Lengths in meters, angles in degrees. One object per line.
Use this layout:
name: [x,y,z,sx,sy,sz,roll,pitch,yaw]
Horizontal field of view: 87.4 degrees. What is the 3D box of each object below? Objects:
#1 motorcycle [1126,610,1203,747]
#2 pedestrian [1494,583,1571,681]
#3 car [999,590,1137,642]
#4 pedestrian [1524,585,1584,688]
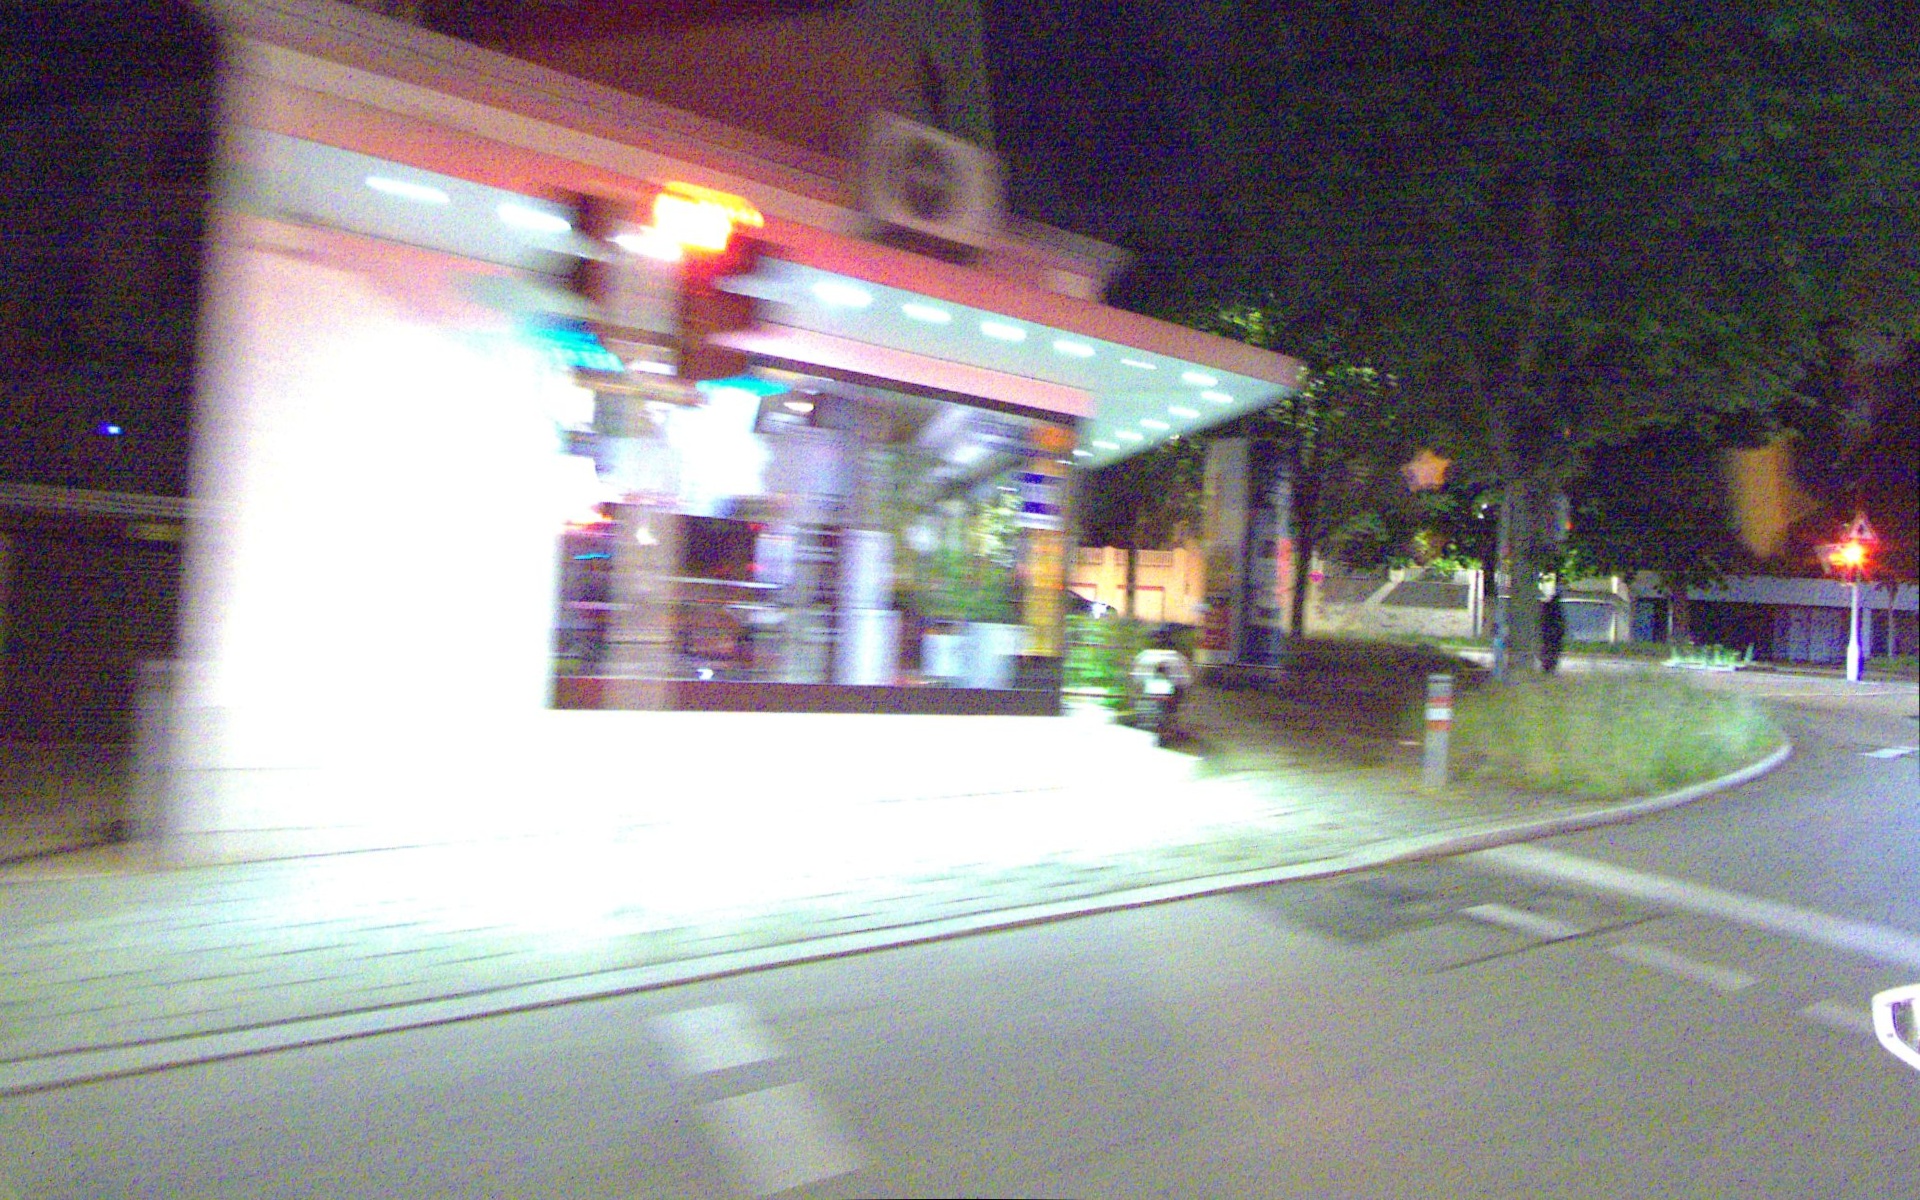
motorcycle: [2.179,0.755,10.548,0.606,1.246,2.041,3,1,15]
pedestrian: [10.970,0.602,19.261,0.719,1.793,0.959,2,2,-26]
car: [3.628,0.494,33.830,4.209,1.449,1.729,4,2,25]
pedestrian: [10.788,0.655,18.269,0.514,1.816,0.691,2,2,-11]
